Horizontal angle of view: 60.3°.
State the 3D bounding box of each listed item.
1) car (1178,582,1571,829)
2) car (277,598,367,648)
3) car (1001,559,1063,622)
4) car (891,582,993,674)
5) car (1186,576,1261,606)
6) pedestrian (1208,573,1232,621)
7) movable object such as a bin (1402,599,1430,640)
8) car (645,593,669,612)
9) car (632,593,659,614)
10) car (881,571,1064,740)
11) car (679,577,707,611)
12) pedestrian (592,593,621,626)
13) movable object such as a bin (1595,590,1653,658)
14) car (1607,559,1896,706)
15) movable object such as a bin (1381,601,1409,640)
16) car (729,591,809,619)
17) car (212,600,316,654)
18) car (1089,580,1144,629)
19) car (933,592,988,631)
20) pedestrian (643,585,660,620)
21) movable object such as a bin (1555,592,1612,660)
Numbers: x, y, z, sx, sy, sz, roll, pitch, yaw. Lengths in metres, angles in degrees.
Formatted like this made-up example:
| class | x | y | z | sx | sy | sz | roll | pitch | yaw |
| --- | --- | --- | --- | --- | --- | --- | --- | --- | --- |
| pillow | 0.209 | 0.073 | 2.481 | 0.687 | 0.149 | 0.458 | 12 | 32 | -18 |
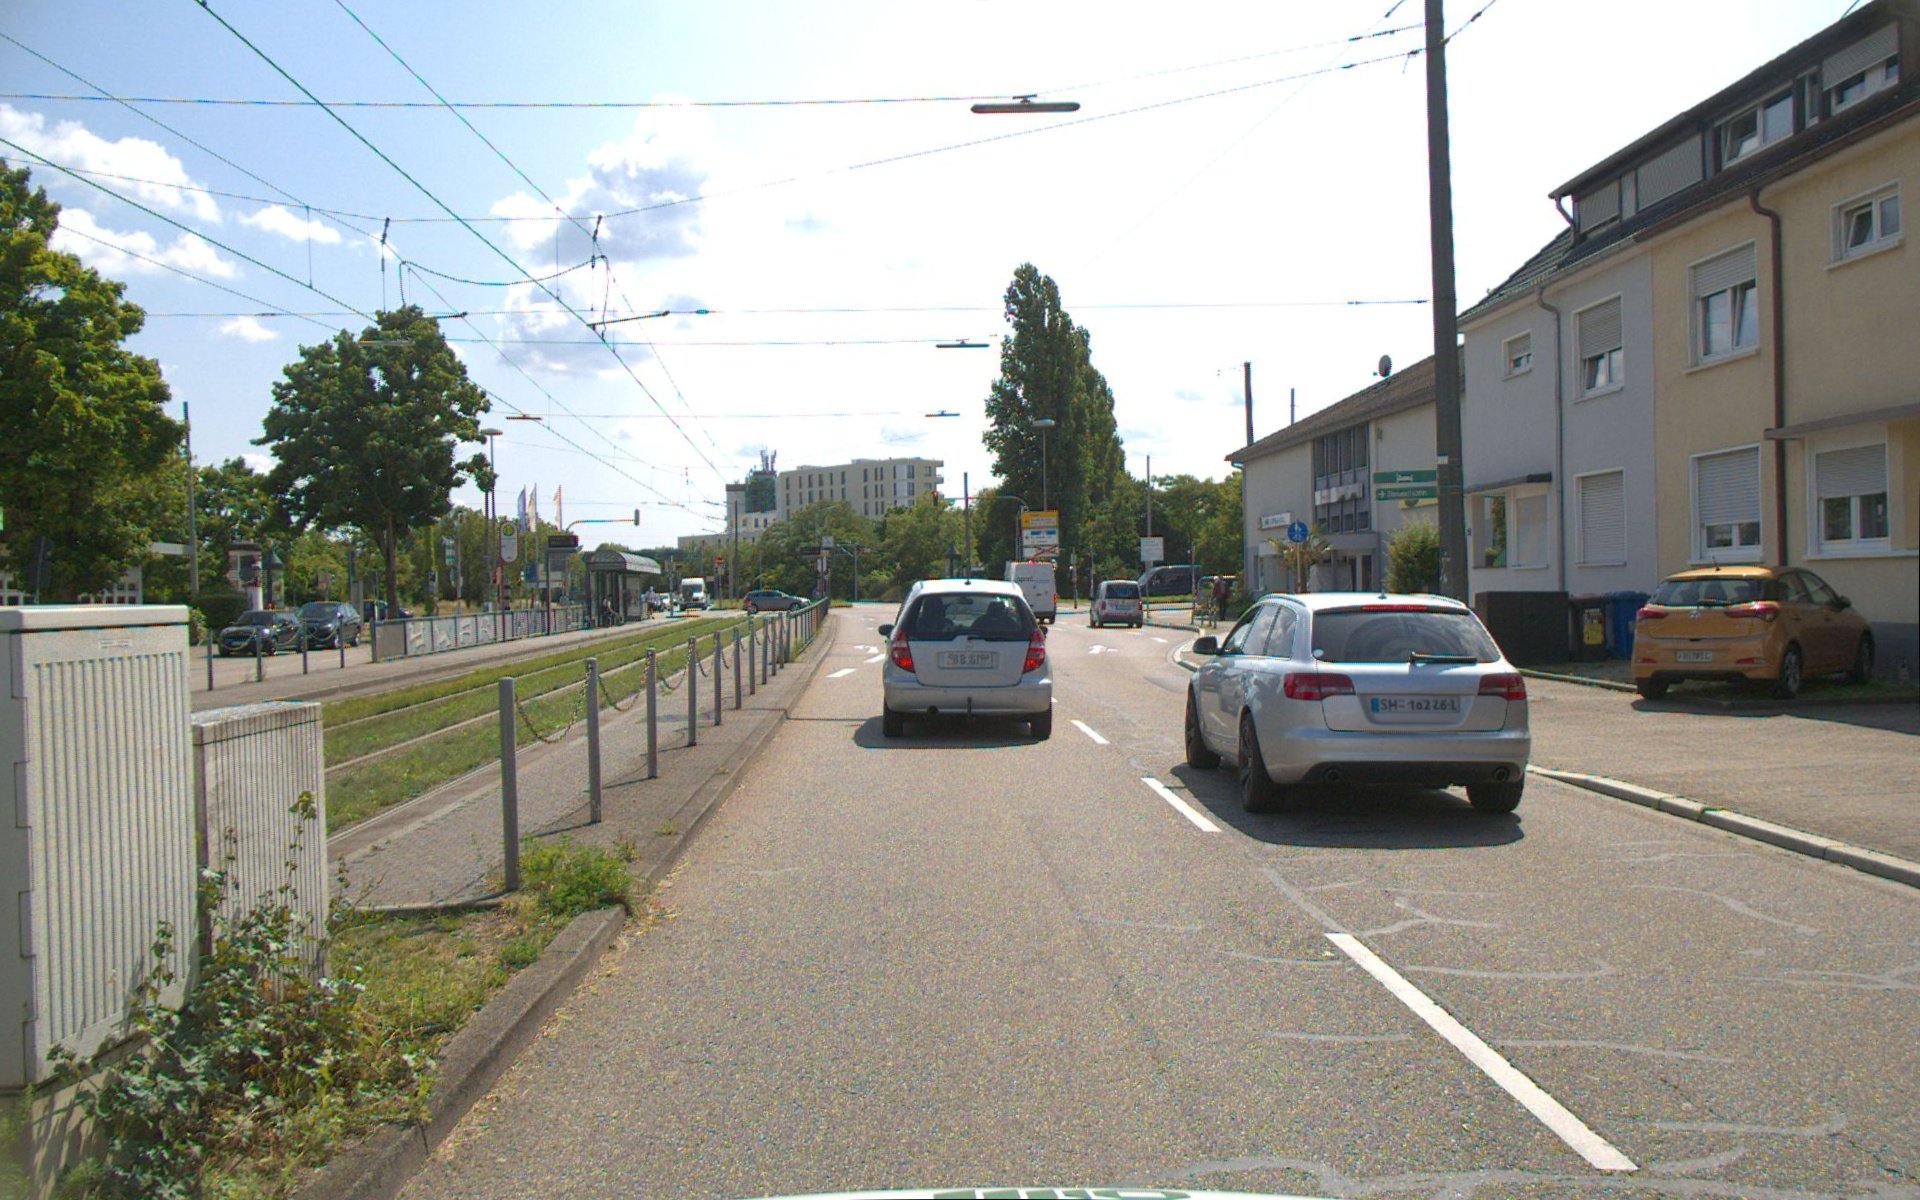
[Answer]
| class | x | y | z | sx | sy | sz | roll | pitch | yaw |
| --- | --- | --- | --- | --- | --- | --- | --- | --- | --- |
| car | 2.856 | 0.637 | 12.468 | 1.816 | 1.518 | 4.536 | 0 | 0 | 0 |
| car | -22.693 | 0.790 | 59.011 | 2.022 | 1.642 | 4.743 | -1 | 0 | -9 |
| car | 3.057 | -0.413 | 71.141 | 2.001 | 2.602 | 5.226 | -1 | 0 | -4 |
| car | -0.324 | 0.454 | 29.941 | 1.703 | 1.518 | 4.629 | 0 | 0 | -1 |
| car | 14.888 | -0.487 | 93.341 | 4.045 | 1.665 | 1.869 | 0 | 0 | -34 |
| pedestrian | 10.094 | -0.123 | 64.212 | 0.707 | 1.813 | 0.702 | -3 | 0 | -2 |
| movable object such as a bin | 10.703 | 0.458 | 38.859 | 0.433 | 0.951 | 0.549 | -1 | 0 | -9 |
| car | -25.445 | 0.220 | 139.175 | 1.768 | 1.568 | 4.157 | 0 | 0 | -8 |
| car | -24.871 | 0.283 | 130.980 | 1.861 | 1.568 | 3.723 | 0 | 0 | -8 |
| car | 0.093 | 0.523 | 18.137 | 1.751 | 1.604 | 4.094 | 1 | 0 | -1 |
| car | -21.465 | -0.499 | 133.016 | 1.955 | 2.651 | 4.872 | 0 | 0 | -6 |
| pedestrian | -14.822 | 0.394 | 69.394 | 1.038 | 1.400 | 0.860 | 0 | 0 | -4 |
| movable object such as a bin | 10.612 | 0.377 | 26.429 | 0.632 | 1.074 | 0.659 | -1 | 0 | -4 |
| car | 9.599 | 0.309 | 19.918 | 4.063 | 1.483 | 1.885 | -4 | 3 | -44 |
| movable object such as a bin | 10.211 | 0.475 | 38.824 | 0.436 | 0.910 | 0.545 | -1 | 0 | -9 |
| car | -11.851 | 0.332 | 102.769 | 4.764 | 1.689 | 2.000 | 0 | 0 | -1 |
| car | -22.171 | 0.838 | 52.802 | 1.750 | 1.612 | 3.929 | -1 | 0 | -2 |
| car | 6.025 | 0.178 | 64.206 | 1.846 | 1.761 | 4.095 | -2 | 0 | 2 |
| car | -0.017 | 0.407 | 62.907 | 1.833 | 1.444 | 4.096 | 0 | 0 | -4 |
| pedestrian | -16.310 | 0.123 | 87.359 | 0.794 | 1.826 | 0.705 | -1 | 0 | -17 |
| movable object such as a bin | 9.927 | 0.408 | 26.339 | 0.625 | 1.066 | 0.684 | 0 | 0 | -4 |
